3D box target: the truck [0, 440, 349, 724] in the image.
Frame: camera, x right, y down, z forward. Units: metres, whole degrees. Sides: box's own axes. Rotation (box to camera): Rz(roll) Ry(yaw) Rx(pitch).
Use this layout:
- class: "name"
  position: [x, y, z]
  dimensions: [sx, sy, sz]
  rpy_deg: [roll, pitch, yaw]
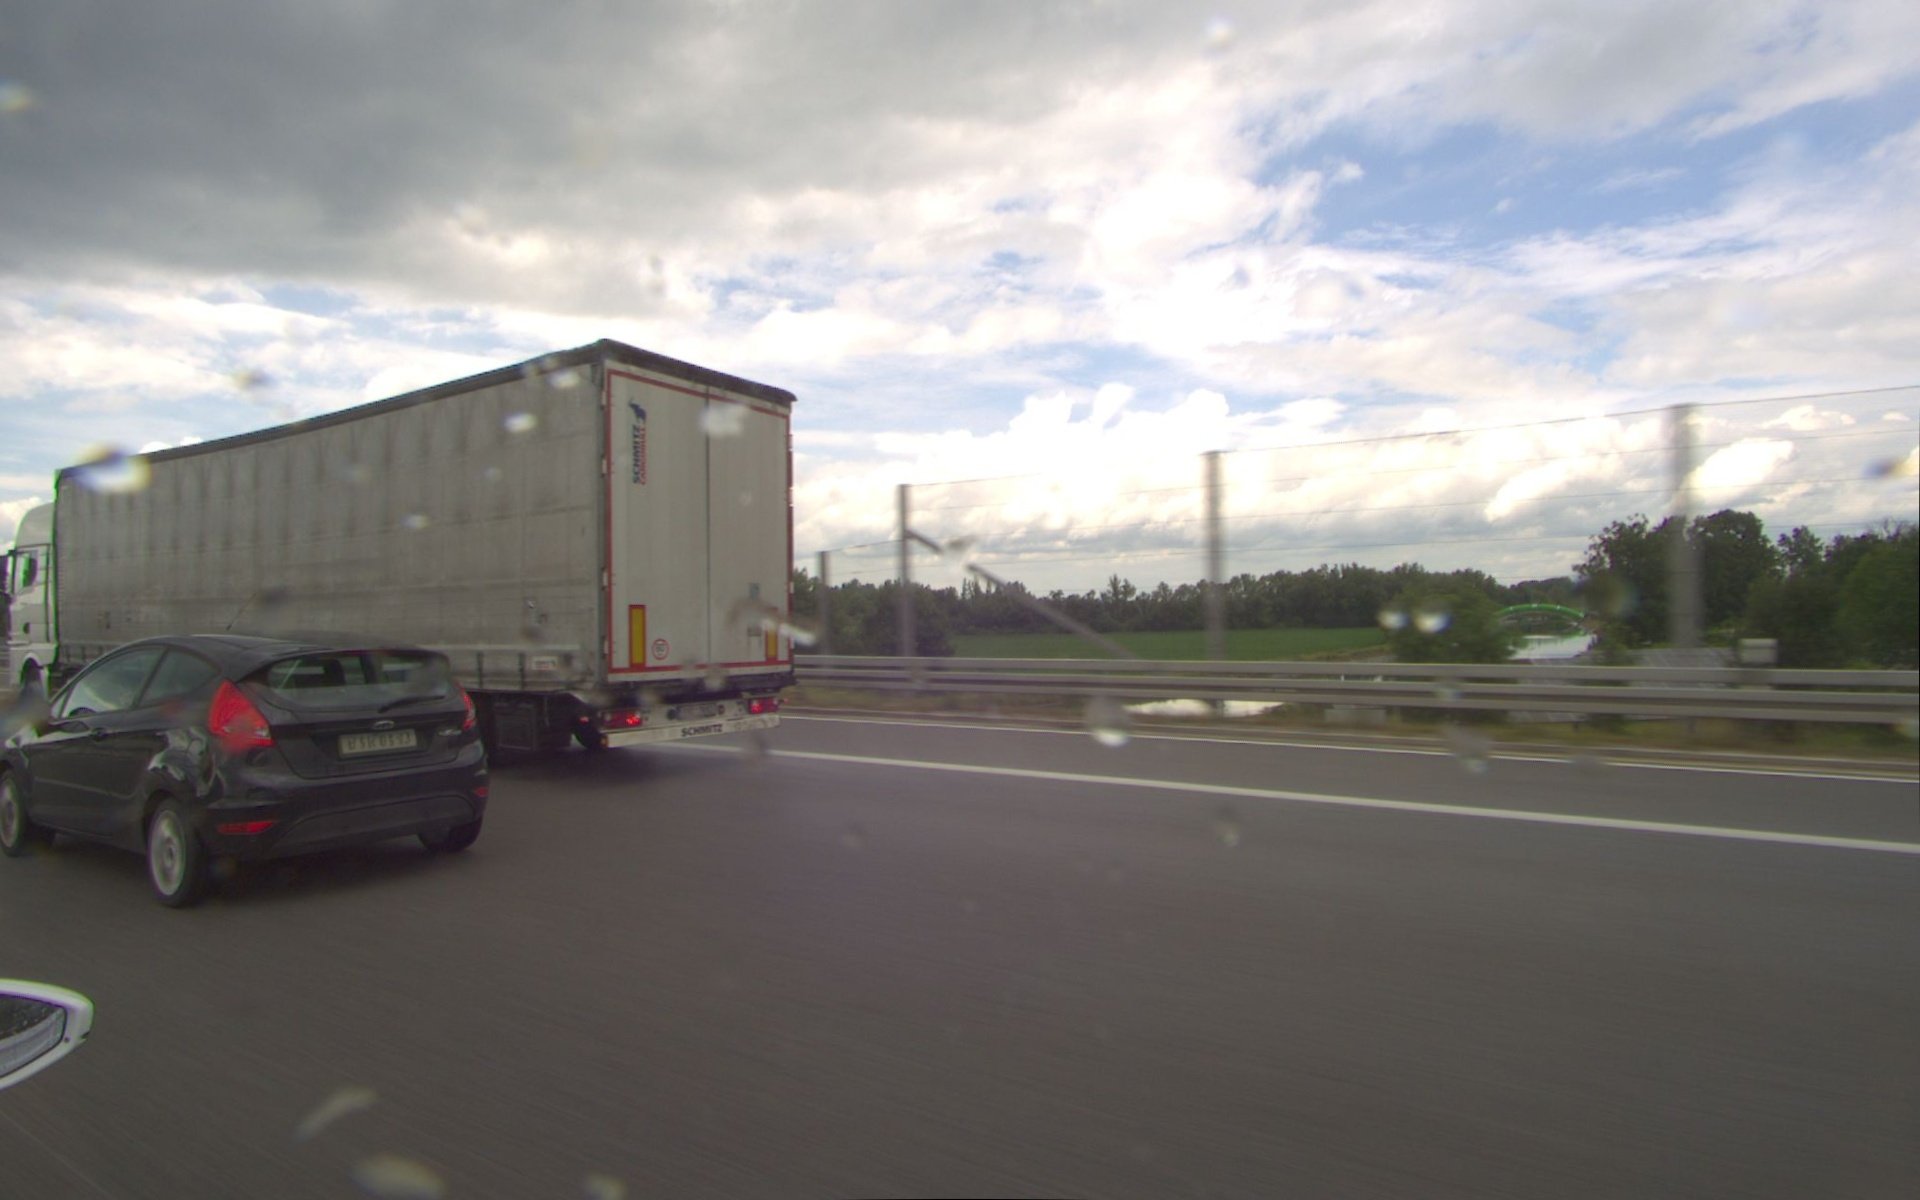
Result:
- class: "truck"
  position: [-13.823, -0.203, 17.366]
  dimensions: [6.494, 4.072, 2.956]
  rpy_deg: [0, -1, 32]

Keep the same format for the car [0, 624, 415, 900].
- class: "car"
  position: [-5.270, 0.898, 6.790]
  dimensions: [3.118, 1.460, 1.444]
  rpy_deg: [-1, -1, 32]

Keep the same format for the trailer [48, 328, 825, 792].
- class: "trailer"
  position: [-8.172, -0.281, 13.789]
  dimensions: [13.915, 4.072, 2.956]
  rpy_deg: [0, -1, 32]
